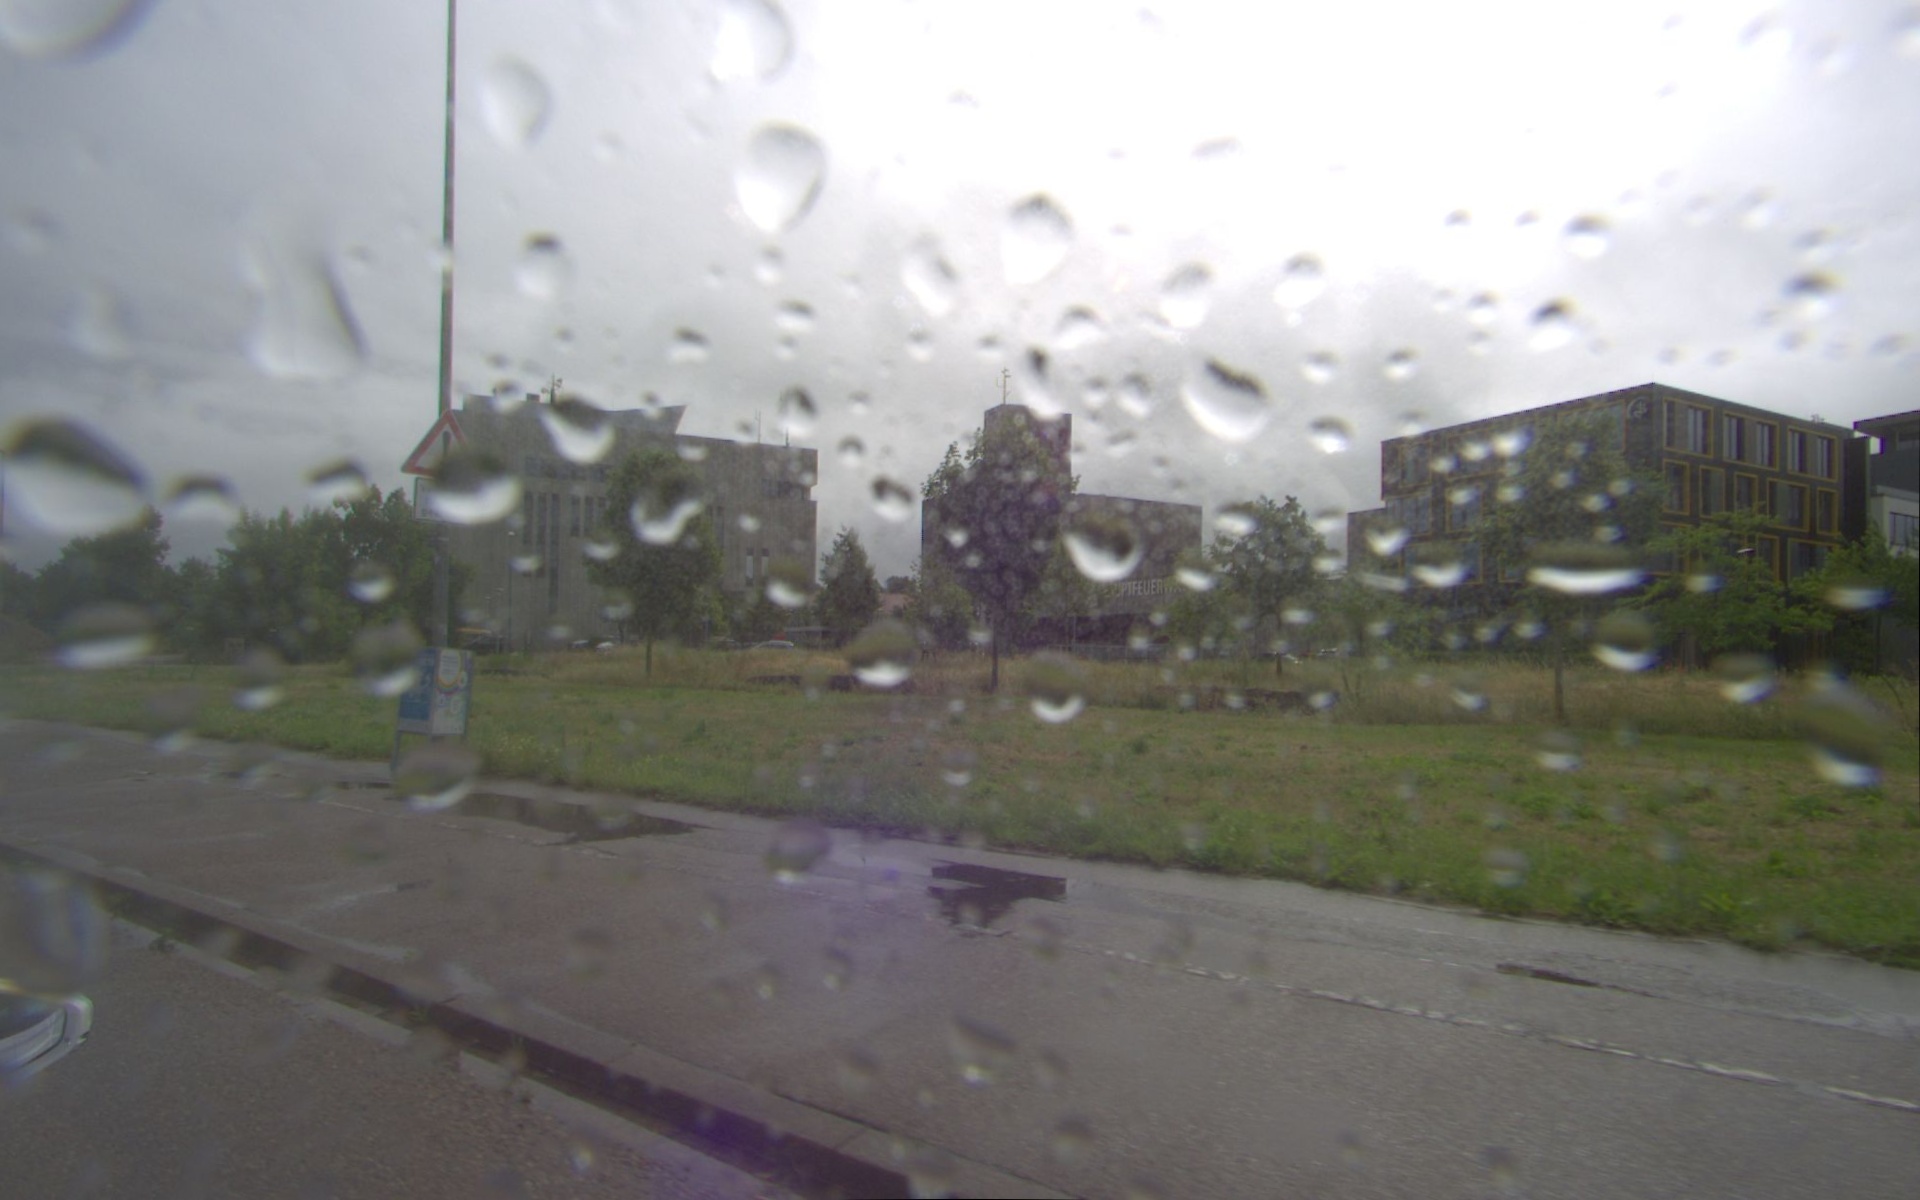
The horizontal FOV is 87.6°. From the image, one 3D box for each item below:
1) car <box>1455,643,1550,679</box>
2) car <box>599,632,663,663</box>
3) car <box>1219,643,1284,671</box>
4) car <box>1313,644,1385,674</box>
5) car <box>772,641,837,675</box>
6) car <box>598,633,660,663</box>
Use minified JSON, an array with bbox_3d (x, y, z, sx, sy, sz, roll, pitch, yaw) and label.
[{"bbox_3d":[27.753,3.103,51.201,4.485,1.784,1.994,2,-2,-24],"label":"car"},{"bbox_3d":[-24.715,3.563,75.176,4.320,1.980,1.994,5,-4,-23],"label":"car"},{"bbox_3d":[18.961,3.706,65.126,3.938,1.794,1.801,2,-2,-26],"label":"car"},{"bbox_3d":[23.254,3.516,59.882,3.936,1.742,1.764,2,-3,-24],"label":"car"},{"bbox_3d":[-9.569,3.551,61.525,3.644,2.038,1.997,1,-3,-17],"label":"car"},{"bbox_3d":[-25.693,3.715,77.706,4.320,1.995,1.994,5,-4,-23],"label":"car"}]
